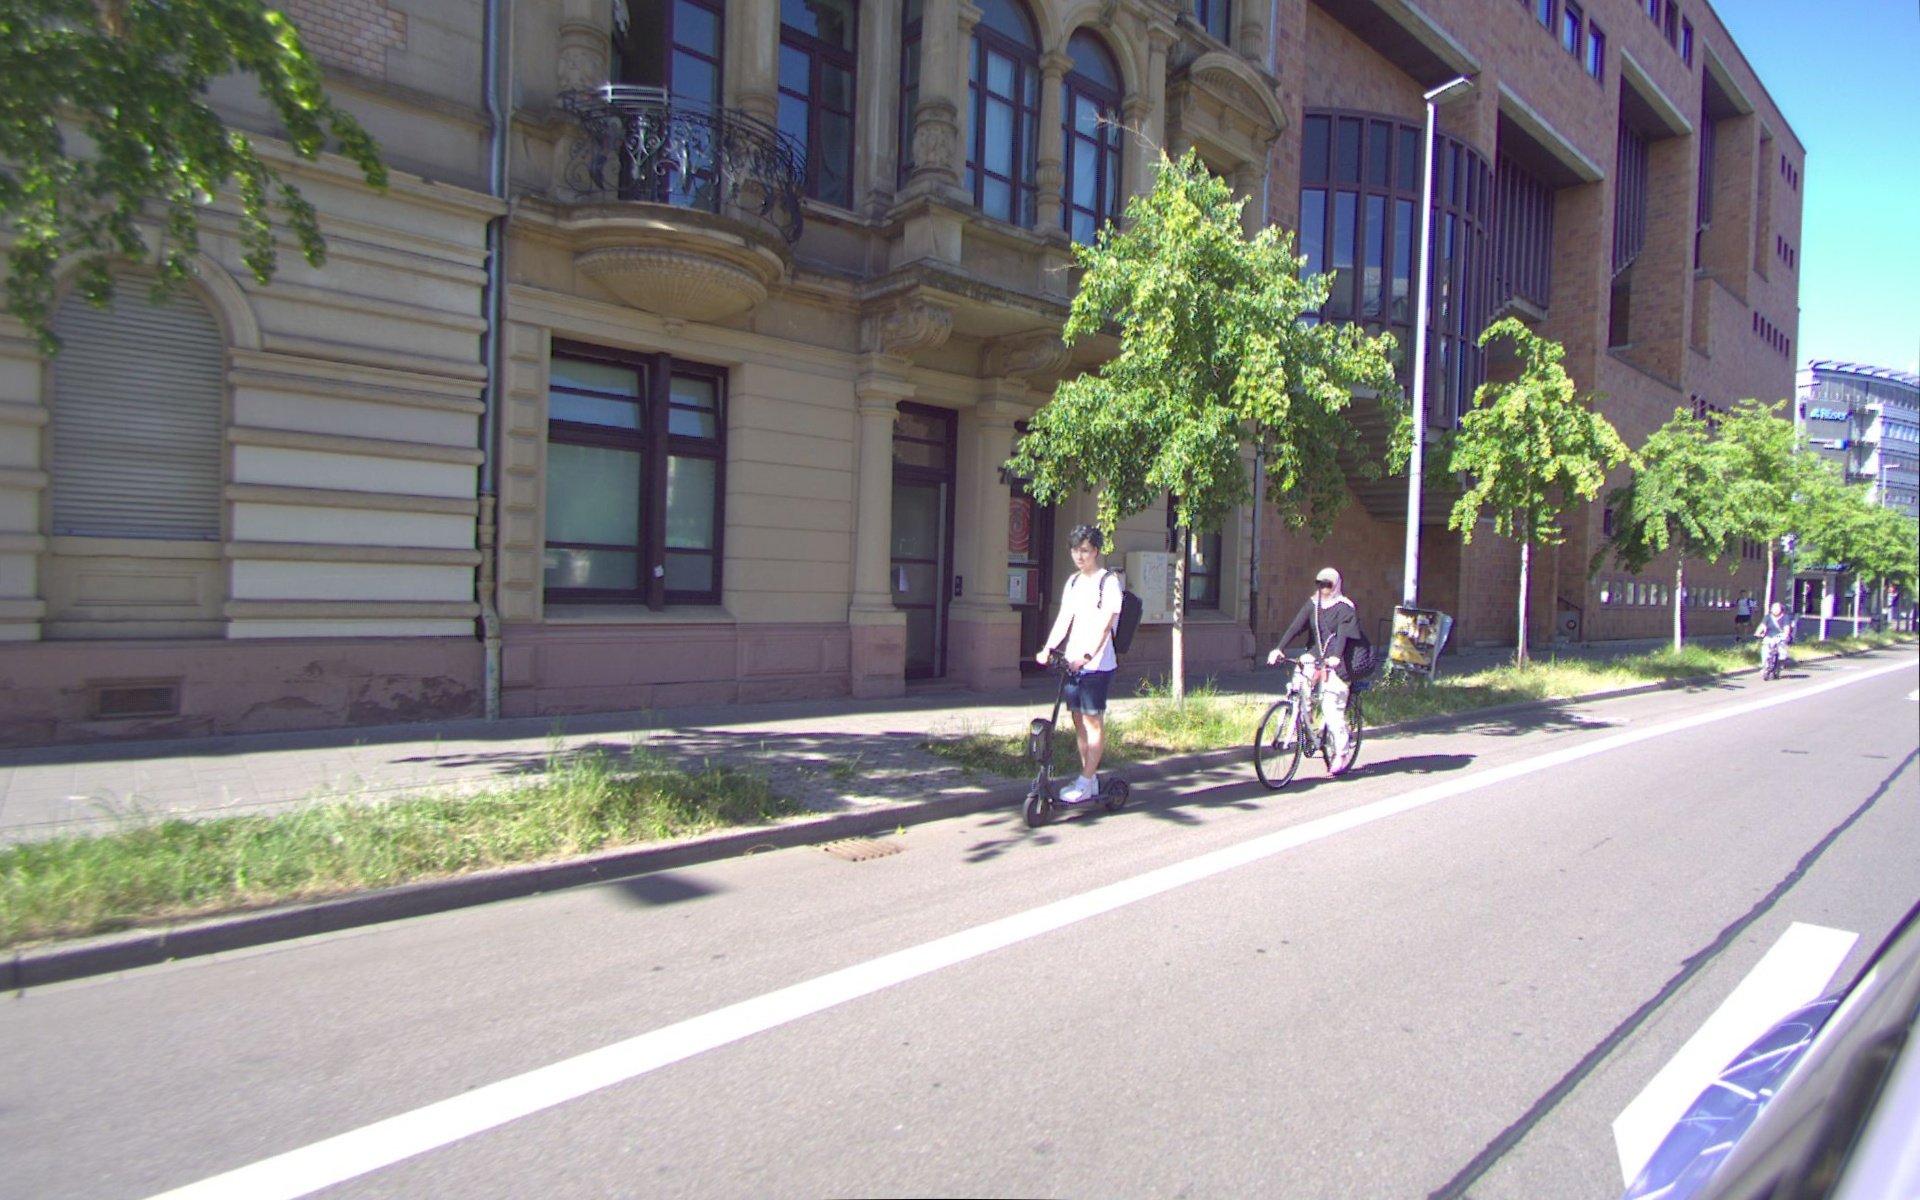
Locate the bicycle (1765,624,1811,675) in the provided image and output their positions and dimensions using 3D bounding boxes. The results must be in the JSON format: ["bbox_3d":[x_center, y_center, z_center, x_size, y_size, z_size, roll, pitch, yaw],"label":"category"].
[{"bbox_3d":[17.947,1.046,21.937,1.481,1.040,0.558,1,0,-42],"label":"bicycle"}]

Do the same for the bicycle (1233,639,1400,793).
[{"bbox_3d":[3.026,0.913,8.500,1.761,1.106,0.558,1,0,-42],"label":"bicycle"}]

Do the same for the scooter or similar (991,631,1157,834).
[{"bbox_3d":[0.797,0.849,6.930,1.150,1.242,0.491,1,0,-42],"label":"scooter or similar"}]

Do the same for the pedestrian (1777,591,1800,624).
[{"bbox_3d":[43.422,0.387,53.030,0.960,1.639,0.789,0,2,-44],"label":"pedestrian"}]

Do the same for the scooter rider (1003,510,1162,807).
[{"bbox_3d":[0.849,0.371,6.973,0.885,1.884,0.667,1,-1,-42],"label":"scooter rider"}]

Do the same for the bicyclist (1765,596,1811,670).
[{"bbox_3d":[17.935,0.694,21.922,0.893,1.557,0.658,1,-1,-42],"label":"bicyclist"}]

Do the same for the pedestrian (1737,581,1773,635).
[{"bbox_3d":[28.791,0.274,36.659,1.087,1.906,0.789,1,2,-41],"label":"pedestrian"}]

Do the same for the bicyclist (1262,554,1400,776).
[{"bbox_3d":[3.109,0.503,8.482,0.853,1.733,0.780,1,-1,-42],"label":"bicyclist"}]
